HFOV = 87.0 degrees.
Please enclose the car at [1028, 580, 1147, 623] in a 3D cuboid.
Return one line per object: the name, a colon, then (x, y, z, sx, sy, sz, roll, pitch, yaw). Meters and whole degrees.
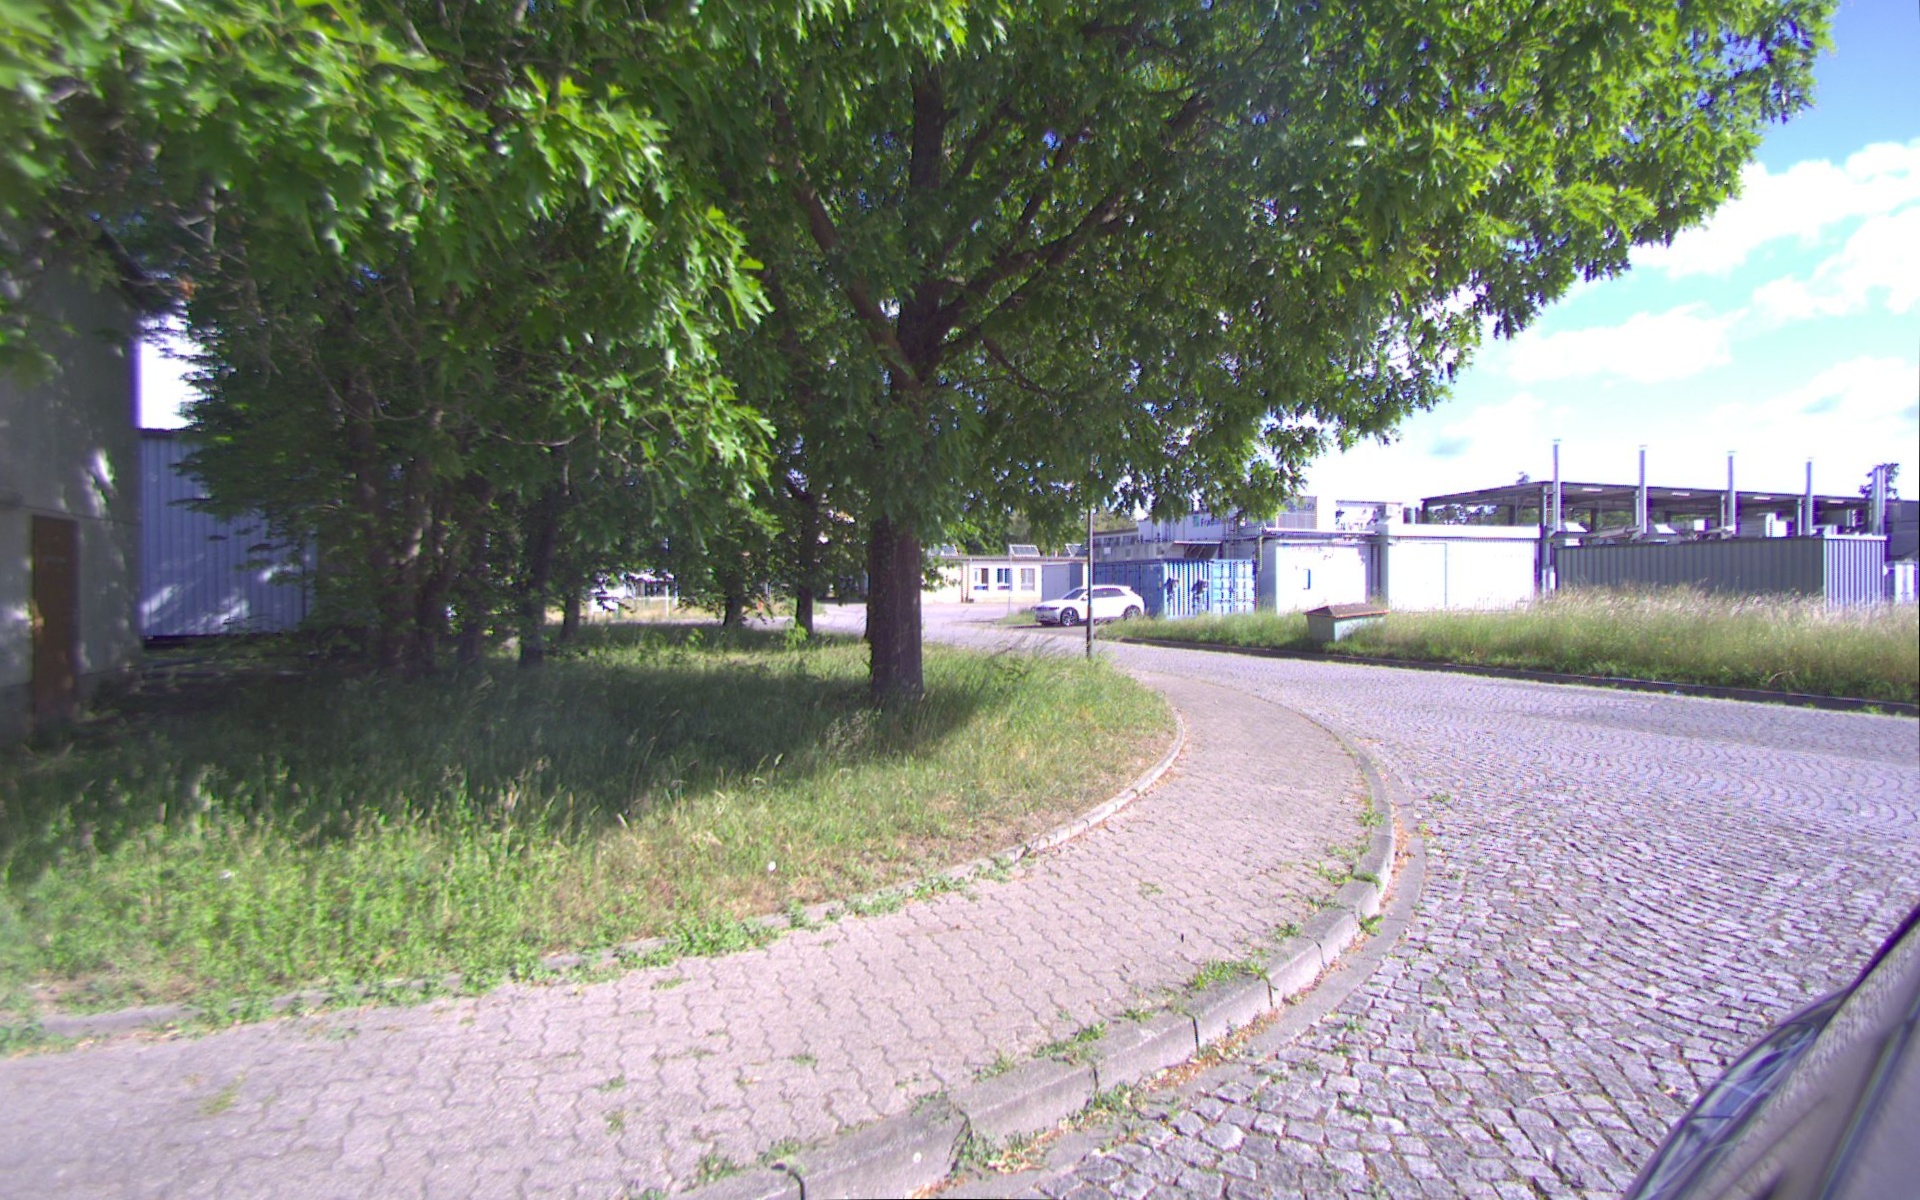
car: (5.152, 0.042, 40.941, 4.426, 1.613, 1.827, -1, 0, -23)
